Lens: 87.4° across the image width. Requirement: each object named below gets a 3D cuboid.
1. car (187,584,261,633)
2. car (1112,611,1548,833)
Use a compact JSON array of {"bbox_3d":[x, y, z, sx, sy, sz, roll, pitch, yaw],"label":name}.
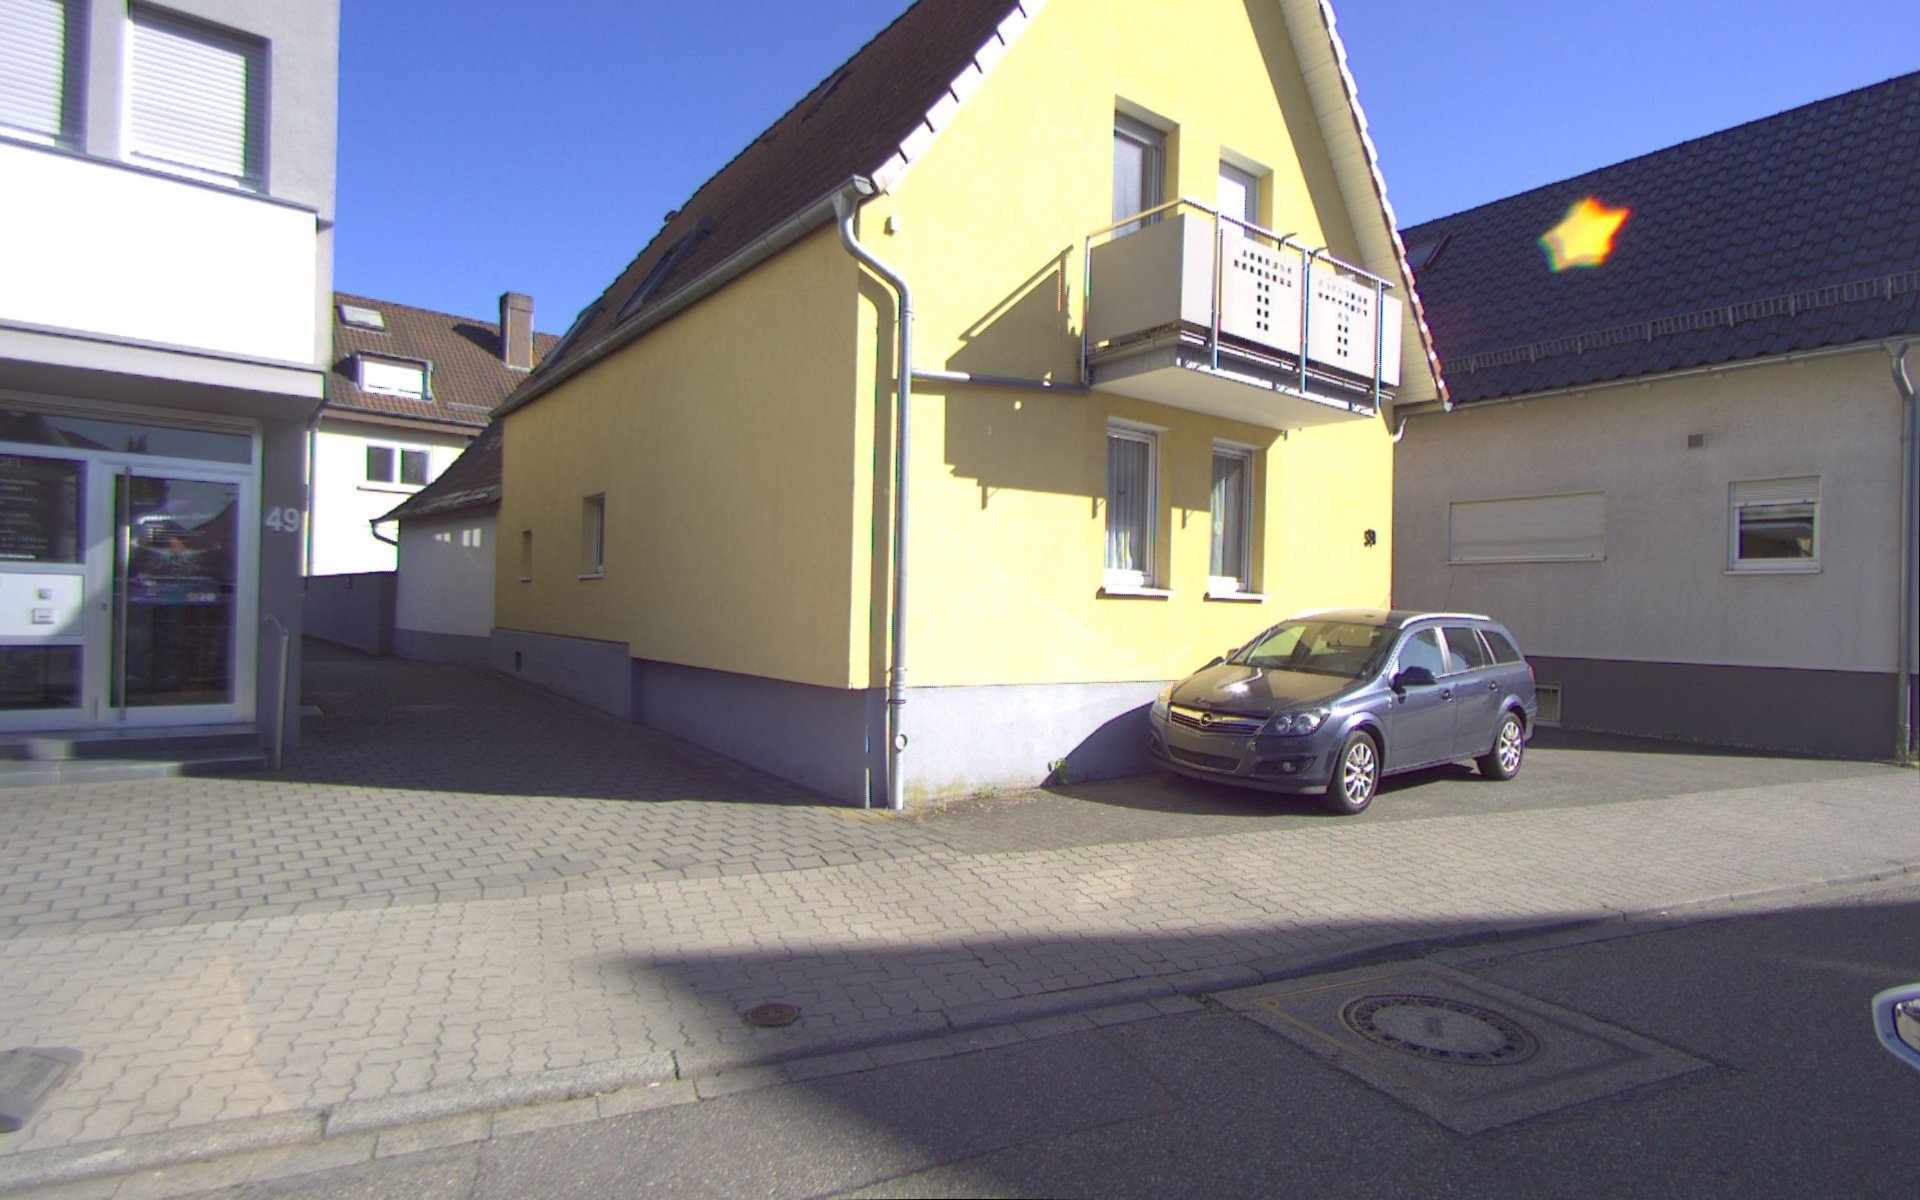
[{"bbox_3d":[-22.603,0.287,30.802,1.657,1.412,3.403,2,-1,-39],"label":"car"},{"bbox_3d":[3.374,0.881,8.780,4.140,1.464,1.675,2,0,-39],"label":"car"}]
